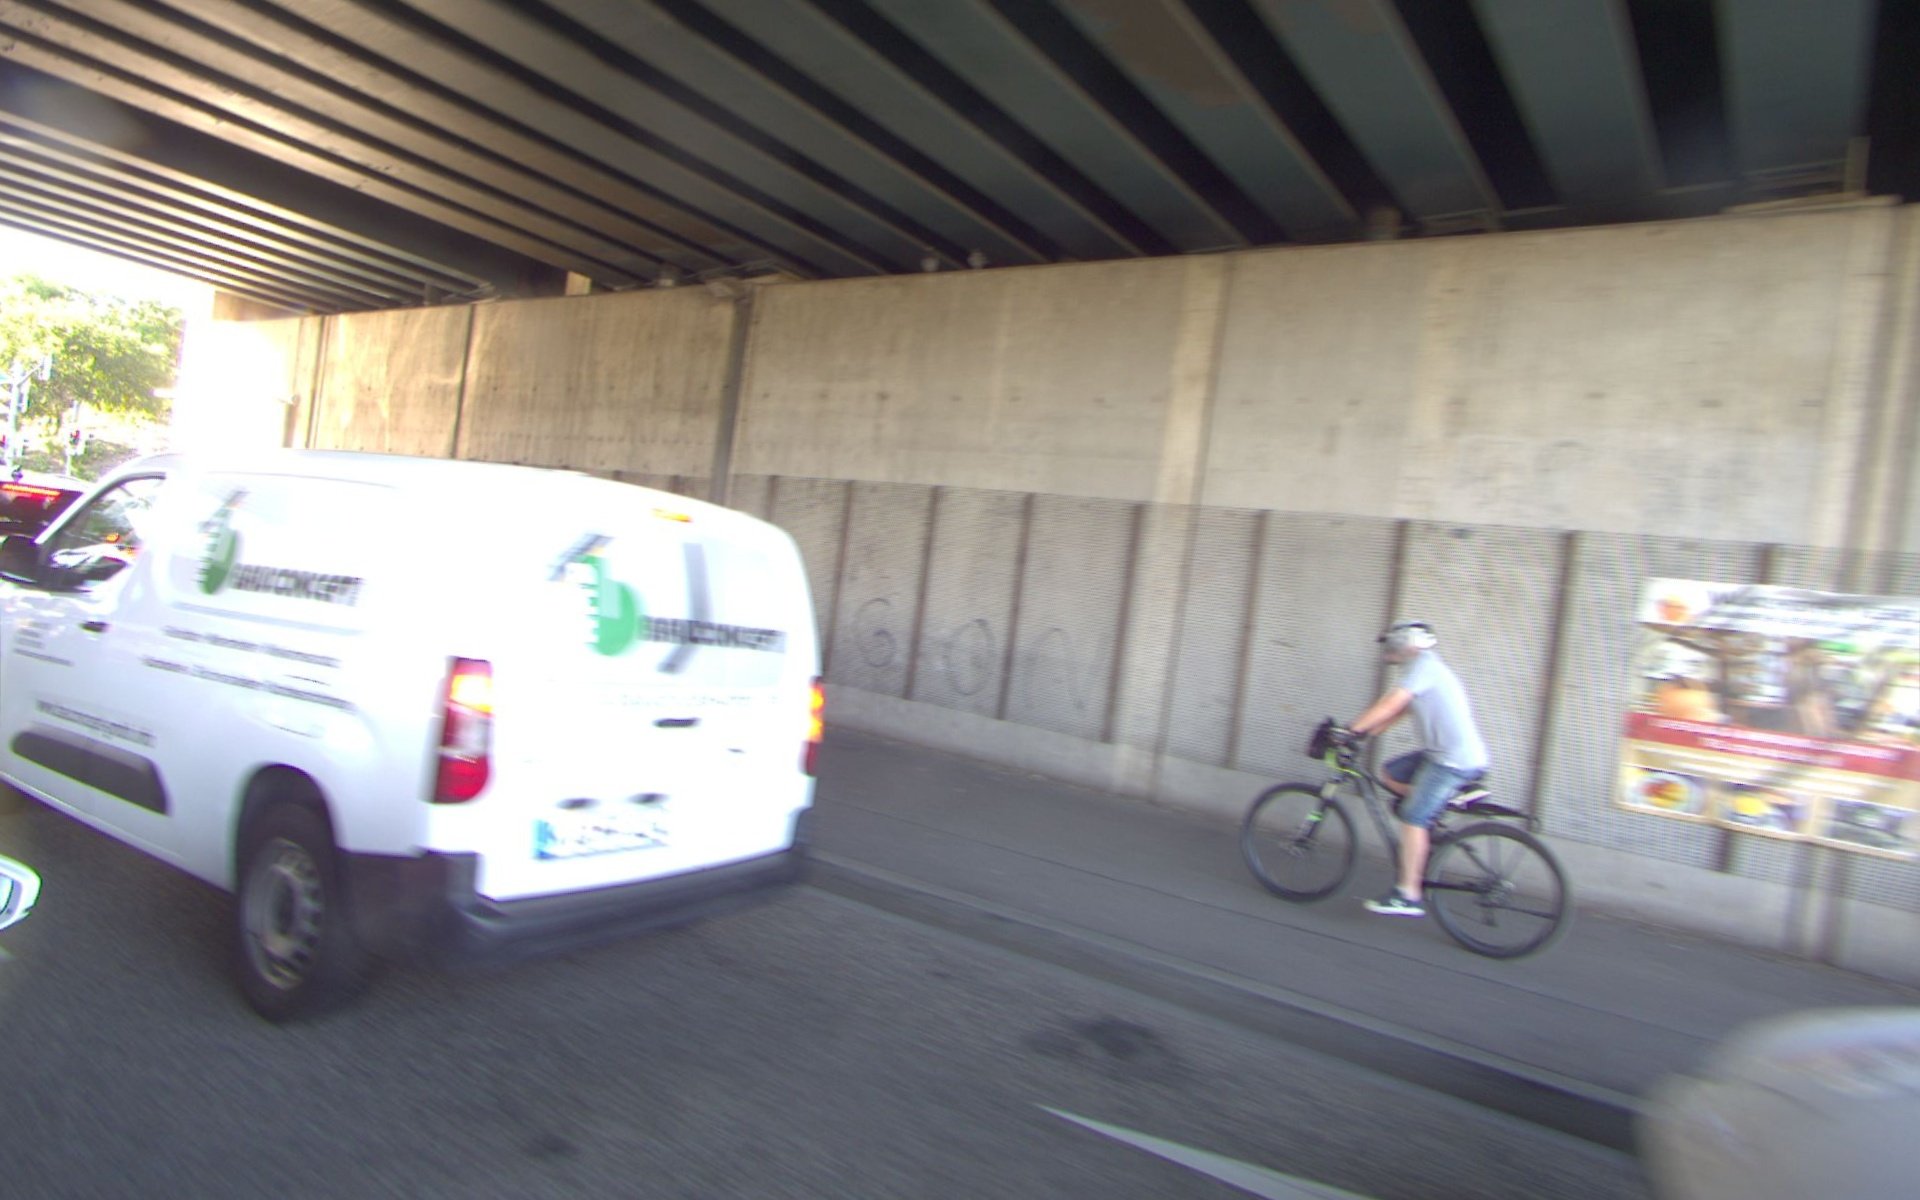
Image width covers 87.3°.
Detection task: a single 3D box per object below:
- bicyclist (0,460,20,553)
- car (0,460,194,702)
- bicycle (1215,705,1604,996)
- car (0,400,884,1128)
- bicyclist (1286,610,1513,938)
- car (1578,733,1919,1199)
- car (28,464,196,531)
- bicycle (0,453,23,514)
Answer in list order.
[{"bbox_3d":[-17.679,-1.740,18.283,0.635,1.647,0.676,6,-2,43],"label":"bicyclist"},{"bbox_3d":[-8.313,-0.326,8.244,3.923,1.675,1.782,7,-2,31],"label":"car"},{"bbox_3d":[2.406,1.256,5.480,1.732,1.071,0.701,8,2,33],"label":"bicycle"},{"bbox_3d":[-2.696,0.299,4.494,4.227,1.855,1.817,8,-1,31],"label":"car"},{"bbox_3d":[2.402,0.880,5.494,0.895,1.544,0.695,7,2,33],"label":"bicyclist"},{"bbox_3d":[3.500,1.290,1.081,4.582,1.473,1.751,7,-1,27],"label":"car"},{"bbox_3d":[-32.190,-3.859,38.319,1.966,1.625,4.359,7,-3,29],"label":"car"},{"bbox_3d":[-17.653,-2.153,18.314,1.508,1.036,0.676,6,-2,44],"label":"bicycle"}]
